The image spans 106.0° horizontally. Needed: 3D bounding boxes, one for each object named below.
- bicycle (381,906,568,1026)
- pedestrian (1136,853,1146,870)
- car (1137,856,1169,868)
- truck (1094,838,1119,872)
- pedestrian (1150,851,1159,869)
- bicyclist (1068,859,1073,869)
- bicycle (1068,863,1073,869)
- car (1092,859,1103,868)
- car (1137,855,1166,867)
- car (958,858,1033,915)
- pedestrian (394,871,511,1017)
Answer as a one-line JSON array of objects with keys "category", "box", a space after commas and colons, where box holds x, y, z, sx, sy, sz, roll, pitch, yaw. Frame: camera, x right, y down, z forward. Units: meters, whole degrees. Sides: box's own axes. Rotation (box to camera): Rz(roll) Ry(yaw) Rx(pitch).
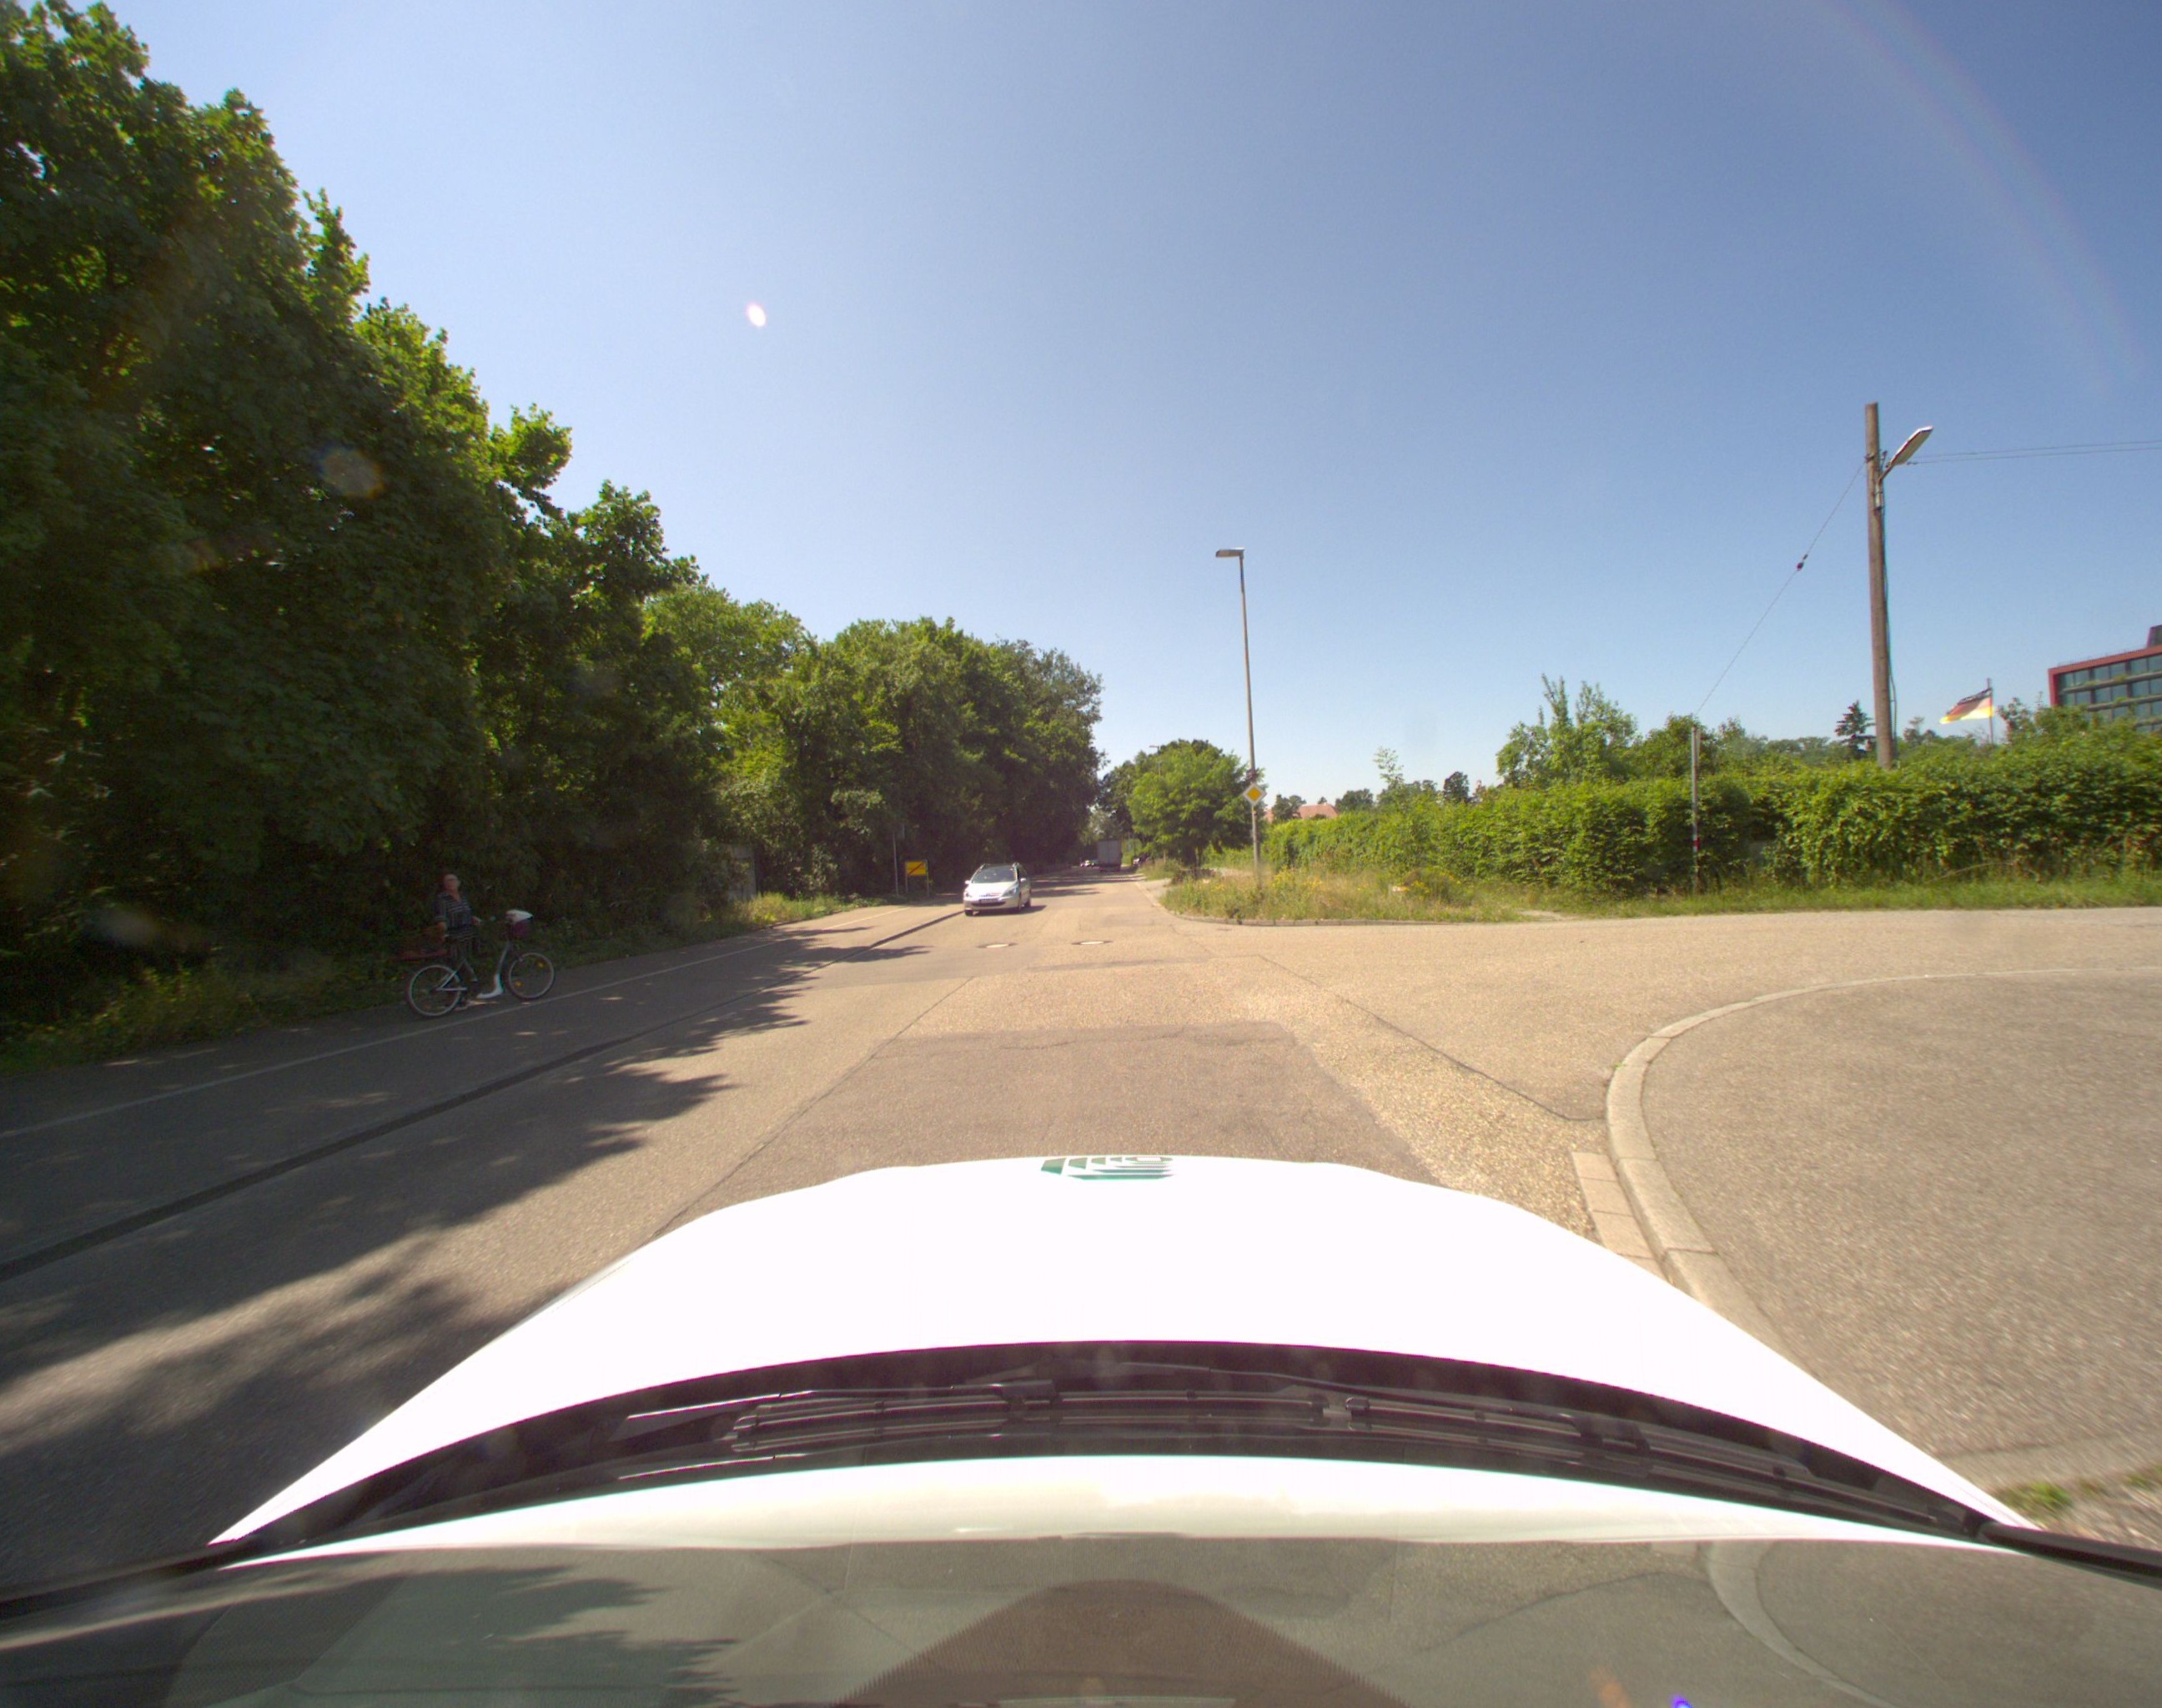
[{"category": "bicycle", "box": [-7.488, 1.326, 10.186, 0.517, 1.236, 1.968, -2, -1, 14]}, {"category": "pedestrian", "box": [6.103, 0.716, 82.567, 0.860, 1.677, 0.885, -3, 0, 0]}, {"category": "car", "box": [9.925, 1.061, 112.298, 4.179, 1.445, 1.740, -4, 0, 2]}, {"category": "truck", "box": [3.179, 0.117, 99.333, 2.722, 3.745, 13.253, -2, 0, 3]}, {"category": "pedestrian", "box": [7.550, 0.631, 83.496, 0.736, 1.738, 0.885, -3, 0, 0]}, {"category": "bicyclist", "box": [-2.097, 1.910, 157.058, 0.829, 1.716, 0.958, -4, 0, 2]}, {"category": "bicycle", "box": [-2.068, 2.326, 157.065, 0.715, 1.159, 2.232, -4, 0, 3]}, {"category": "car", "box": [3.210, 1.899, 160.442, 1.986, 1.684, 4.265, -4, 0, 2]}, {"category": "car", "box": [10.272, 1.032, 118.695, 4.179, 1.445, 1.740, -4, 0, 2]}, {"category": "car", "box": [-2.704, 0.991, 26.652, 1.785, 1.572, 4.273, -3, 0, 2]}, {"category": "pedestrian", "box": [-7.827, 1.094, 10.159, 0.802, 1.718, 0.780, -3, 0, 17]}]
